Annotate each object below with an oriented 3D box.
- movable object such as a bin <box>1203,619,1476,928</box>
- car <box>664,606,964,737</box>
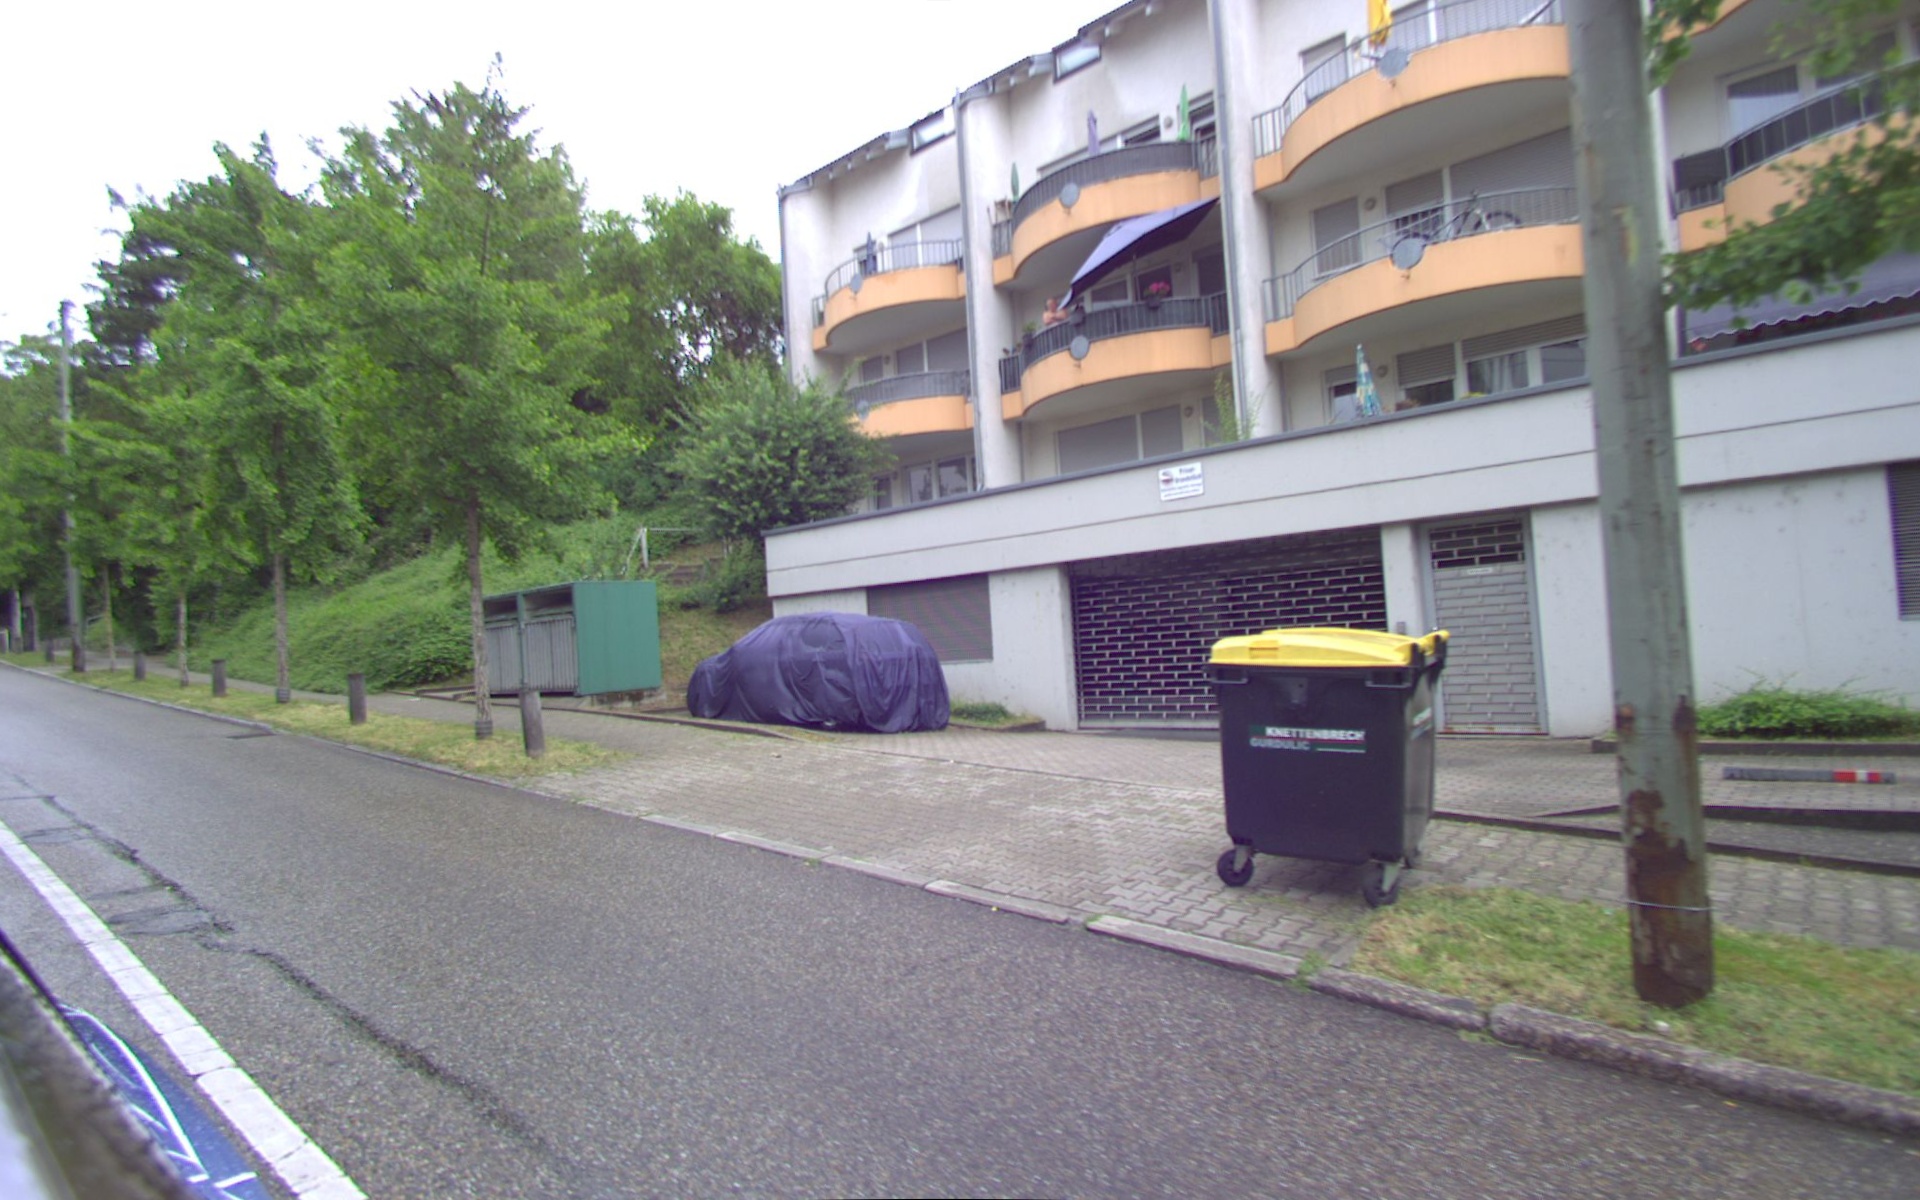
[{"bbox_3d":[2.046,0.803,5.381,1.120,1.360,1.213,-1,0,33],"label":"movable object such as a bin"},{"bbox_3d":[-2.038,0.922,13.640,3.861,1.503,1.833,-1,-5,39],"label":"car"}]
